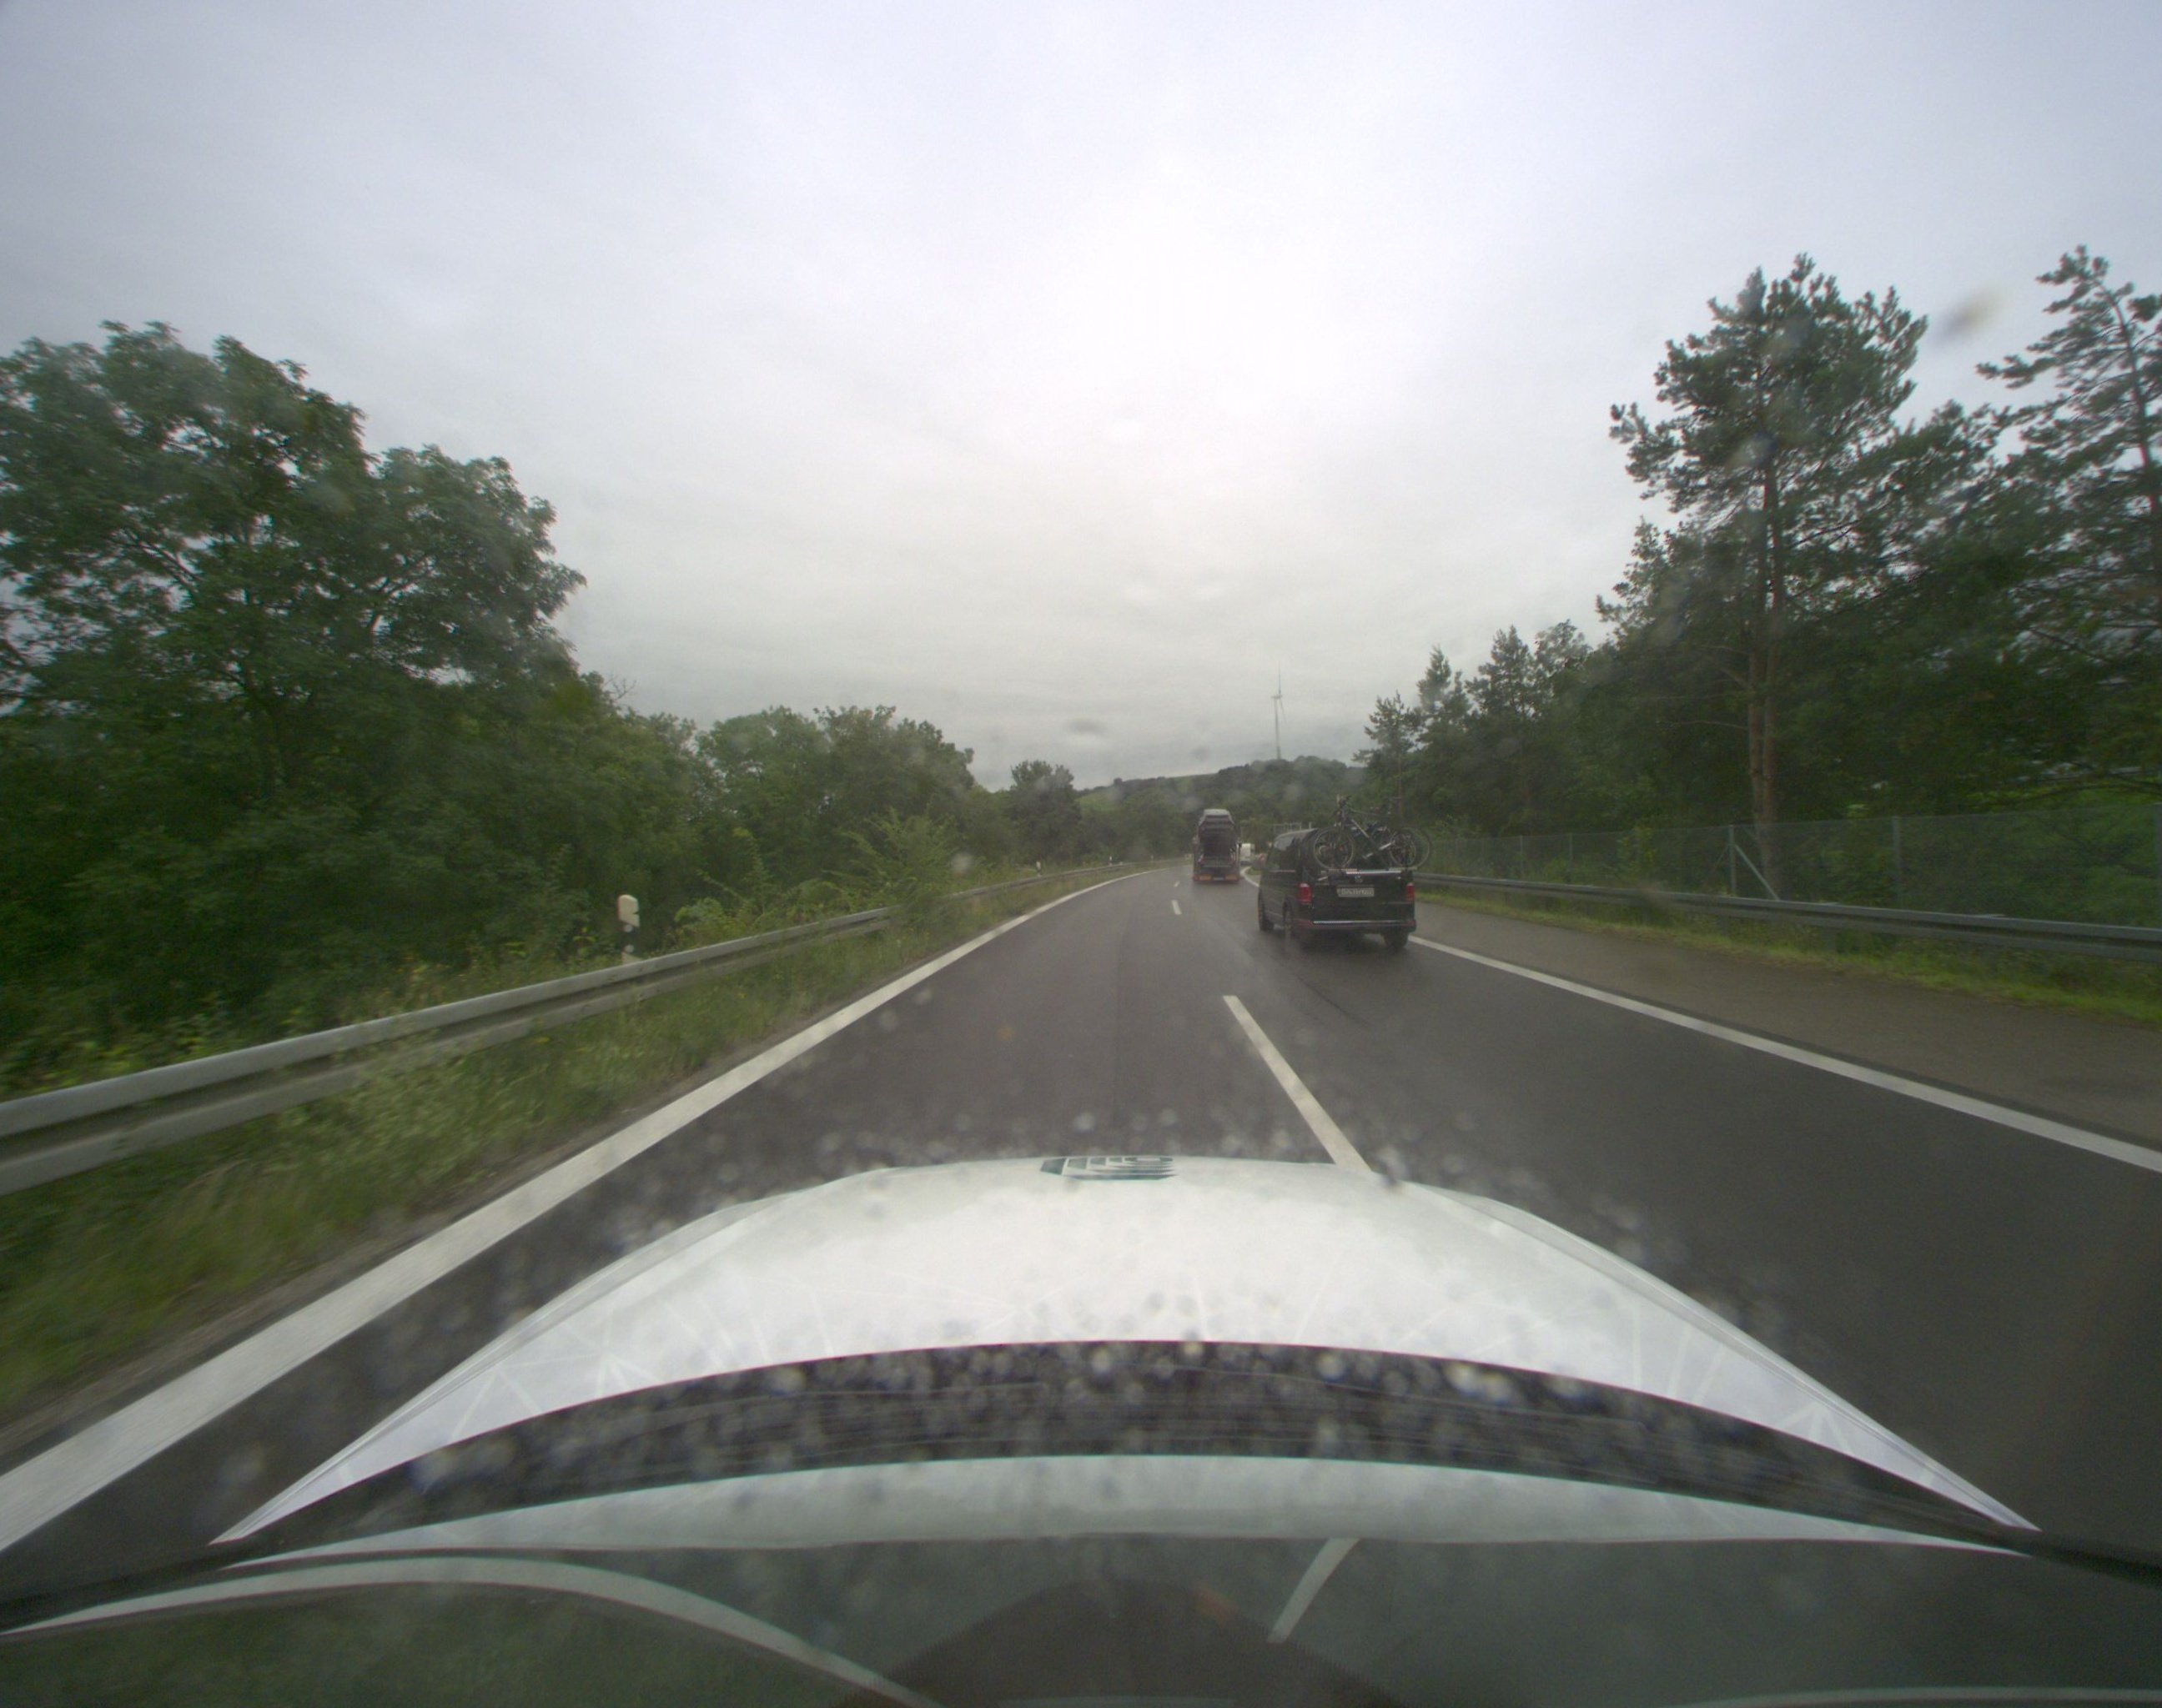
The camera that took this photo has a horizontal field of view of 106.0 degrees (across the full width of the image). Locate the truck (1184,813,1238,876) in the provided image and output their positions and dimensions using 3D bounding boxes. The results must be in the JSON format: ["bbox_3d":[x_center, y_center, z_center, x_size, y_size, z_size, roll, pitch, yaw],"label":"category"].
[{"bbox_3d":[9.077,-0.599,57.428,3.375,3.999,10.871,0,0,8],"label":"truck"}]

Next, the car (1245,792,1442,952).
[{"bbox_3d":[4.304,0.238,14.480,2.100,2.264,5.905,0,0,5],"label":"car"}]

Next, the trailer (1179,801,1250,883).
[{"bbox_3d":[7.391,-0.583,46.023,3.429,3.999,12.054,0,0,8],"label":"trailer"}]

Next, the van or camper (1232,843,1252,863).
[{"bbox_3d":[18.759,-0.149,94.516,2.077,2.231,4.447,-1,0,14],"label":"van or camper"}]
